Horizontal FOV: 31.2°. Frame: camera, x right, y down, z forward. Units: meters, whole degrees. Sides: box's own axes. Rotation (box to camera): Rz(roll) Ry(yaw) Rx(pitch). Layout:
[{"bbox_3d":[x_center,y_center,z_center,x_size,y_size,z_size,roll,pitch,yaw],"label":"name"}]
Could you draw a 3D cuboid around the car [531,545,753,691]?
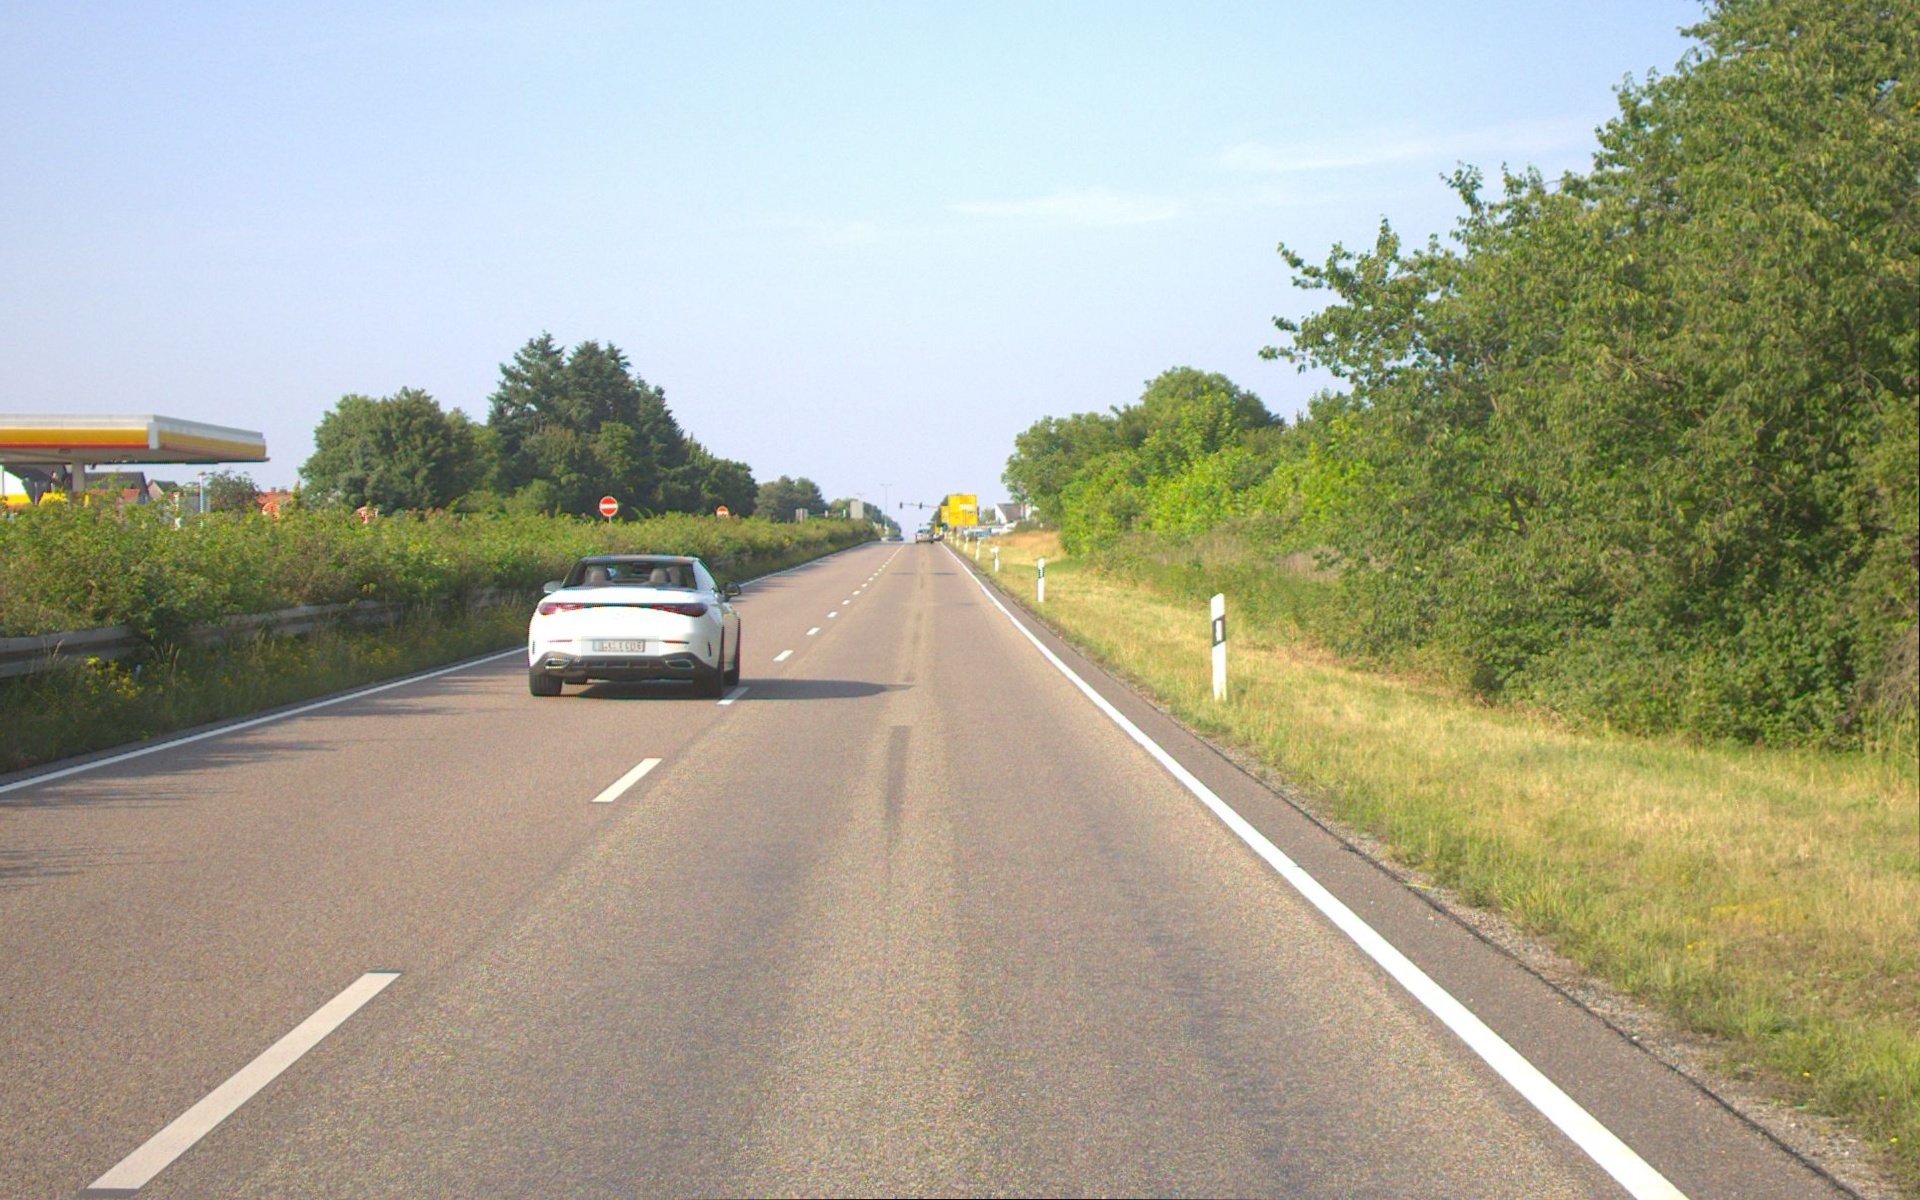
[{"bbox_3d":[-3.123,0.129,34.594,1.771,1.333,4.950,1,1,0],"label":"car"}]
